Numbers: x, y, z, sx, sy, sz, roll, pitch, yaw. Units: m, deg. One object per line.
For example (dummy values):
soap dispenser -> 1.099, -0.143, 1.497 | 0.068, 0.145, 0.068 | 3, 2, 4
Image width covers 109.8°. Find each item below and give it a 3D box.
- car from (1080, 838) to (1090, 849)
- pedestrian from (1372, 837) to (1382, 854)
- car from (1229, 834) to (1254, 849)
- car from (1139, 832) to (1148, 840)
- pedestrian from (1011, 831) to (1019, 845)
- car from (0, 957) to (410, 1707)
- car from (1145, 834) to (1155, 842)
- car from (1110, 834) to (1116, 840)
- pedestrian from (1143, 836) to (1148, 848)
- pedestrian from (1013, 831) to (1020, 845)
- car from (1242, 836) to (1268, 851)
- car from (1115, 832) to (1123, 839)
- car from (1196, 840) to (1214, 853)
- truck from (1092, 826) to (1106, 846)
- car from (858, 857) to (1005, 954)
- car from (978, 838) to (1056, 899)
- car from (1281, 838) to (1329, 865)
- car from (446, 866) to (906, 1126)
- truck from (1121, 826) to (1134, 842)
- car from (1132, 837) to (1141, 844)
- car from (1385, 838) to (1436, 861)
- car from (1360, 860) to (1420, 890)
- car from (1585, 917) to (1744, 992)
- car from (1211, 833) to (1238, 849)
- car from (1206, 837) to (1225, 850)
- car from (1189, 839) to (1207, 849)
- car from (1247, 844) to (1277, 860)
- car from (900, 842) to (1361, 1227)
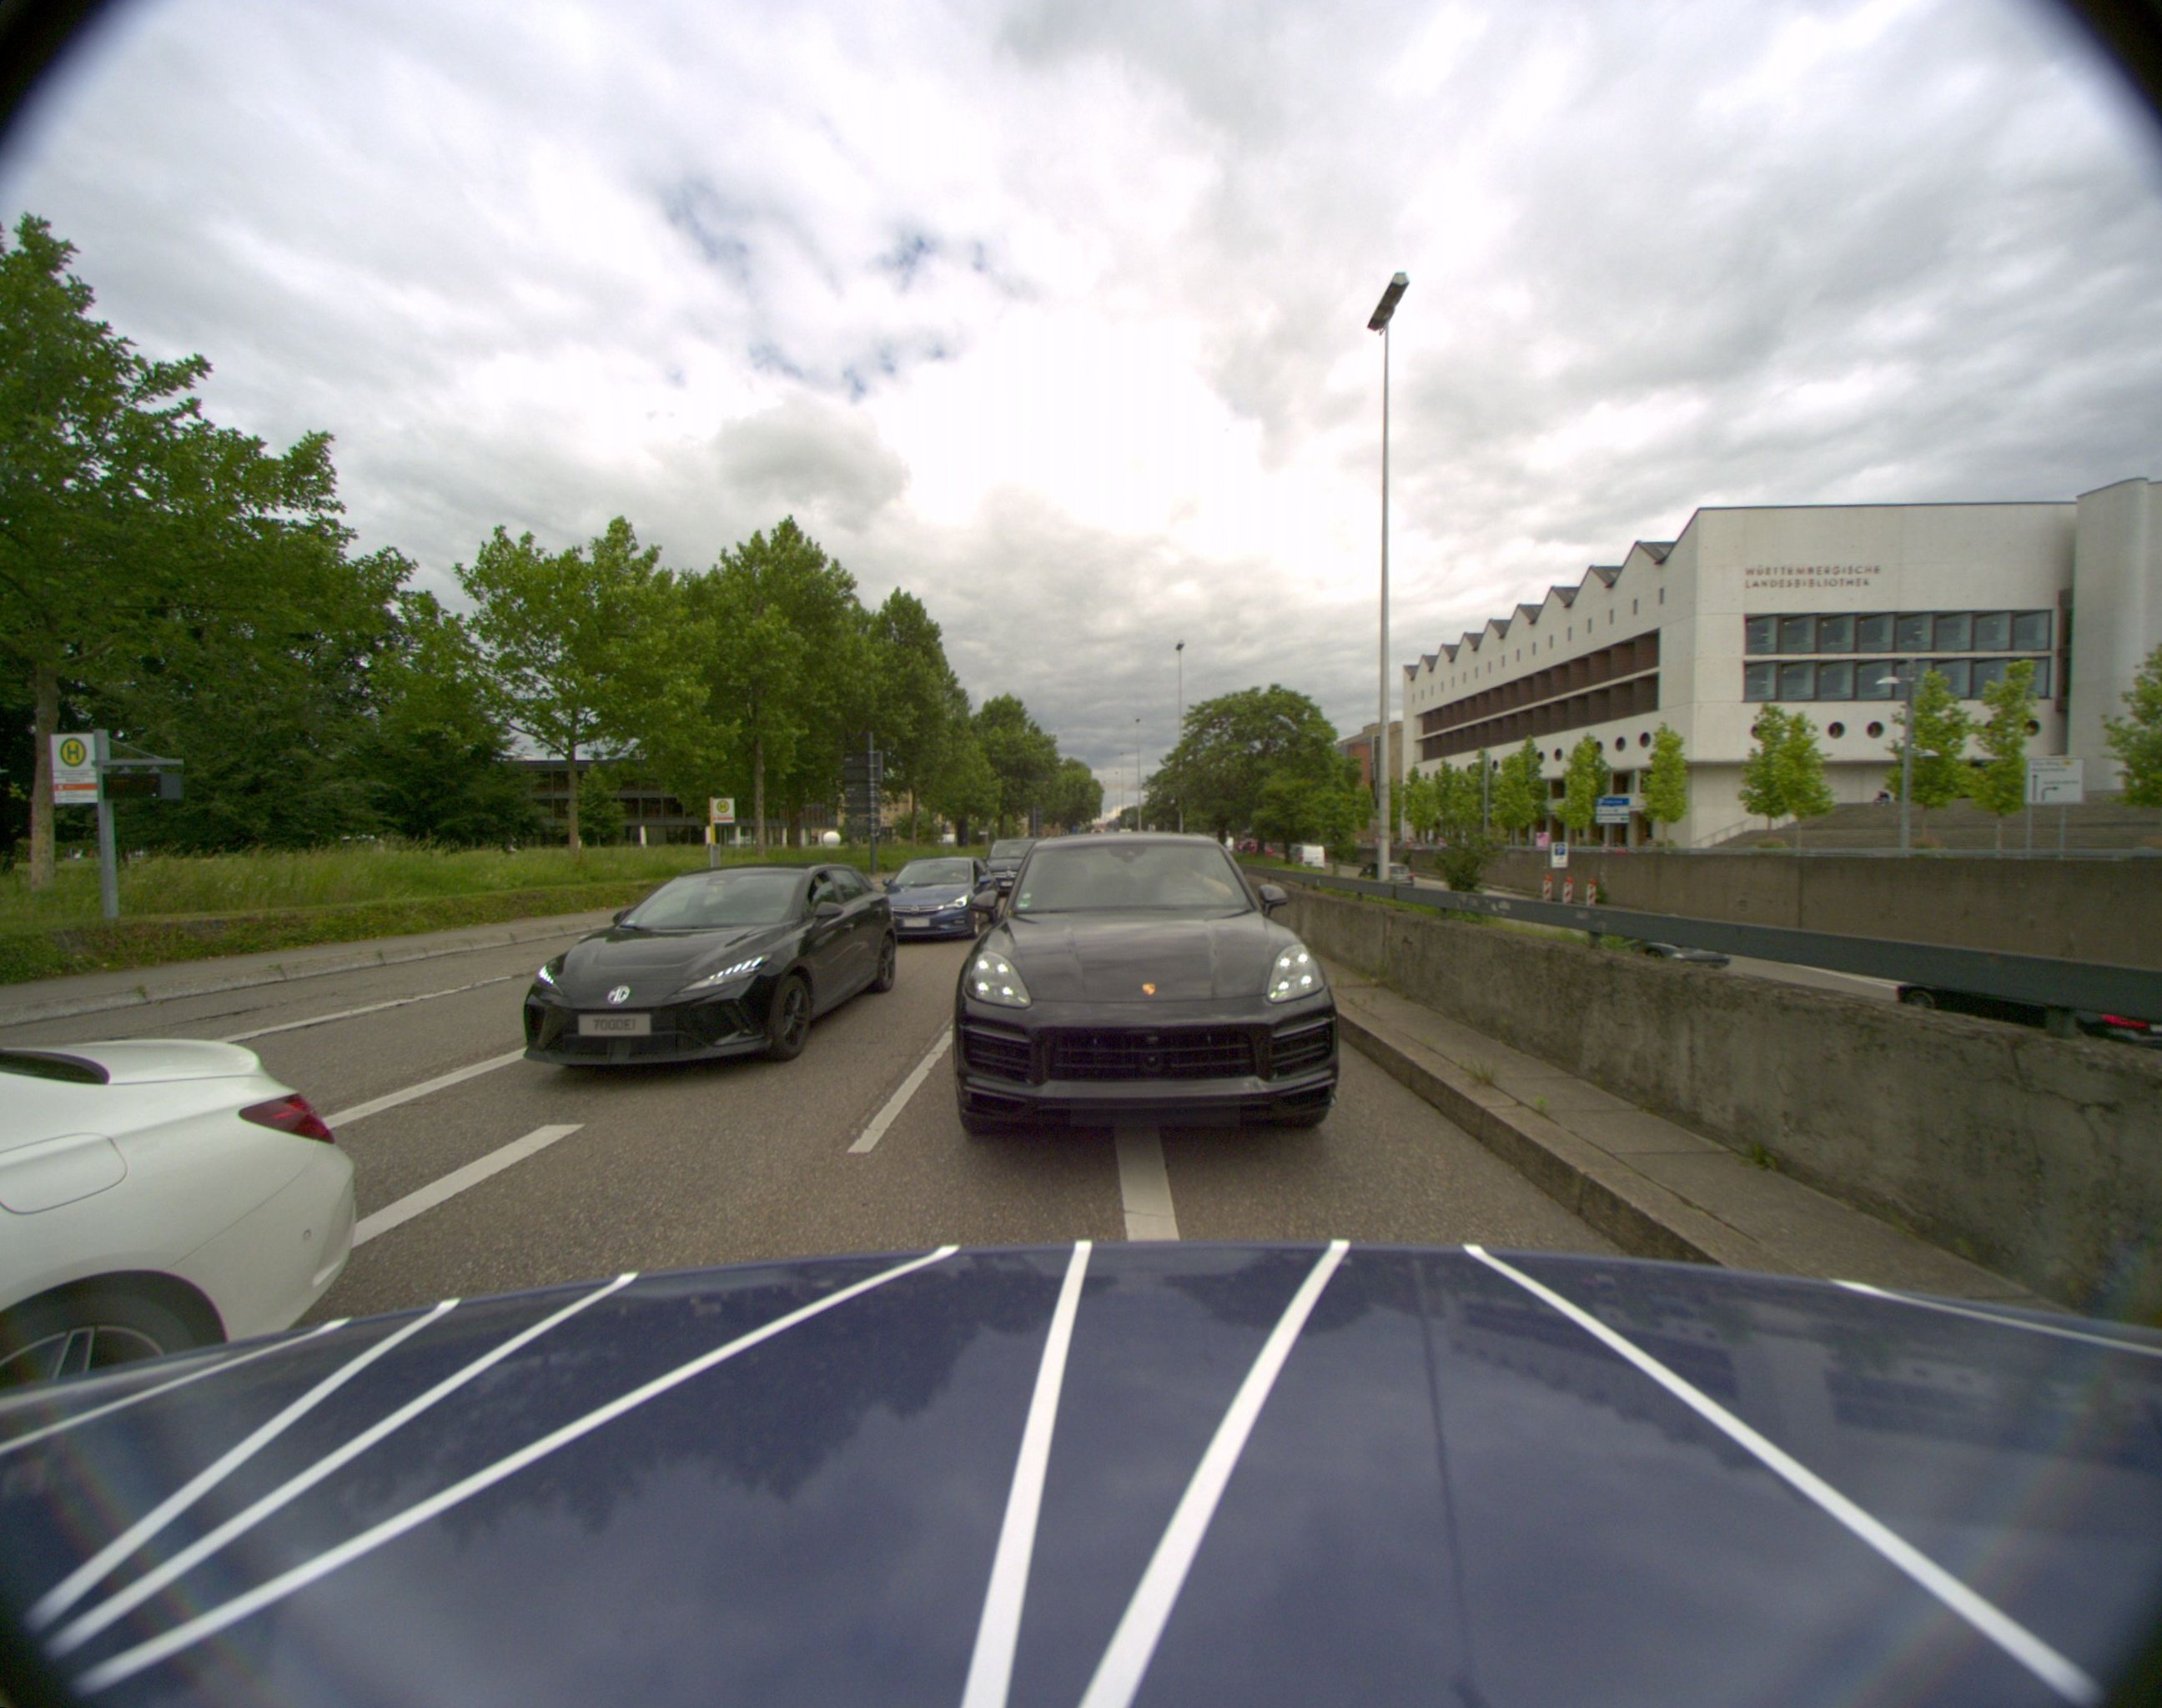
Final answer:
car -> 0.843, -1.978, 145.709 | 1.693, 2.002, 3.999 | -3, 2, 2
pedestrian -> 35.564, -0.992, 91.344 | 0.722, 2.002, 1.016 | -3, 2, 2
car -> 20.100, -1.576, 95.340 | 1.875, 1.604, 4.386 | 0, 4, -3
car -> 11.661, -3.400, 142.010 | 1.372, 1.390, 3.721 | 2, 1, 0
pedestrian -> -9.629, -2.287, 110.479 | 0.892, 2.002, 1.181 | -3, 2, 2
car -> -3.190, 1.106, 0.220 | 1.799, 1.412, 4.526 | -1, 1, 2
car -> 12.168, -2.790, 134.448 | 1.372, 1.390, 3.721 | 2, 1, 0
car -> 10.385, -5.510, 247.249 | 1.998, 1.753, 3.999 | 2, 2, 0
pedestrian -> 10.883, -2.035, 127.398 | 0.792, 2.002, 0.741 | -1, 0, 2
pedestrian -> -9.929, -2.479, 117.164 | 0.892, 2.002, 1.181 | -3, 2, 2
car -> 19.975, -1.257, 87.335 | 1.780, 1.481, 4.142 | 0, 4, -2
car -> 11.097, -5.427, 223.626 | 1.998, 1.753, 3.999 | 2, 2, 0
car -> 16.865, -1.041, 103.644 | 1.779, 1.481, 4.143 | 0, 4, 0
truck -> 3.347, -3.459, 142.577 | 2.357, 3.518, 9.423 | -3, 2, 2
car -> -2.618, 0.841, 14.282 | 1.805, 1.426, 4.015 | -1, 1, 2
car -> -2.013, 0.394, 25.437 | 2.021, 1.823, 4.804 | -1, 1, 2
car -> 17.480, -0.224, 59.481 | 2.224, 2.002, 5.115 | -1, 1, 0
car -> -3.069, 0.951, 6.915 | 1.852, 1.481, 4.092 | -1, 1, 2
truck -> 10.671, -4.652, 175.920 | 2.576, 3.289, 8.078 | -3, 2, 2
car -> 11.240, -2.718, 153.520 | 1.372, 1.389, 3.722 | -1, -1, -1
car -> 27.304, -0.396, 63.114 | 2.180, 1.844, 4.735 | -1, 1, -1
car -> 17.807, 1.170, 43.943 | 1.880, 1.539, 3.999 | -1, 1, 1
car -> 17.460, 2.949, 22.988 | 1.717, 1.533, 3.906 | -3, 2, -2
car -> 16.877, -1.582, 89.502 | 1.999, 1.630, 5.247 | 5, 3, 0
car -> 19.418, -1.583, 109.613 | 1.998, 1.753, 3.999 | 2, 2, 0
car -> 16.857, -1.478, 109.745 | 1.998, 1.390, 3.999 | 2, 1, 0
car -> 17.524, -0.237, 73.775 | 1.998, 1.477, 4.000 | -1, 1, 2
car -> 0.333, 0.737, 5.560 | 1.904, 1.581, 4.732 | -1, 1, 3
